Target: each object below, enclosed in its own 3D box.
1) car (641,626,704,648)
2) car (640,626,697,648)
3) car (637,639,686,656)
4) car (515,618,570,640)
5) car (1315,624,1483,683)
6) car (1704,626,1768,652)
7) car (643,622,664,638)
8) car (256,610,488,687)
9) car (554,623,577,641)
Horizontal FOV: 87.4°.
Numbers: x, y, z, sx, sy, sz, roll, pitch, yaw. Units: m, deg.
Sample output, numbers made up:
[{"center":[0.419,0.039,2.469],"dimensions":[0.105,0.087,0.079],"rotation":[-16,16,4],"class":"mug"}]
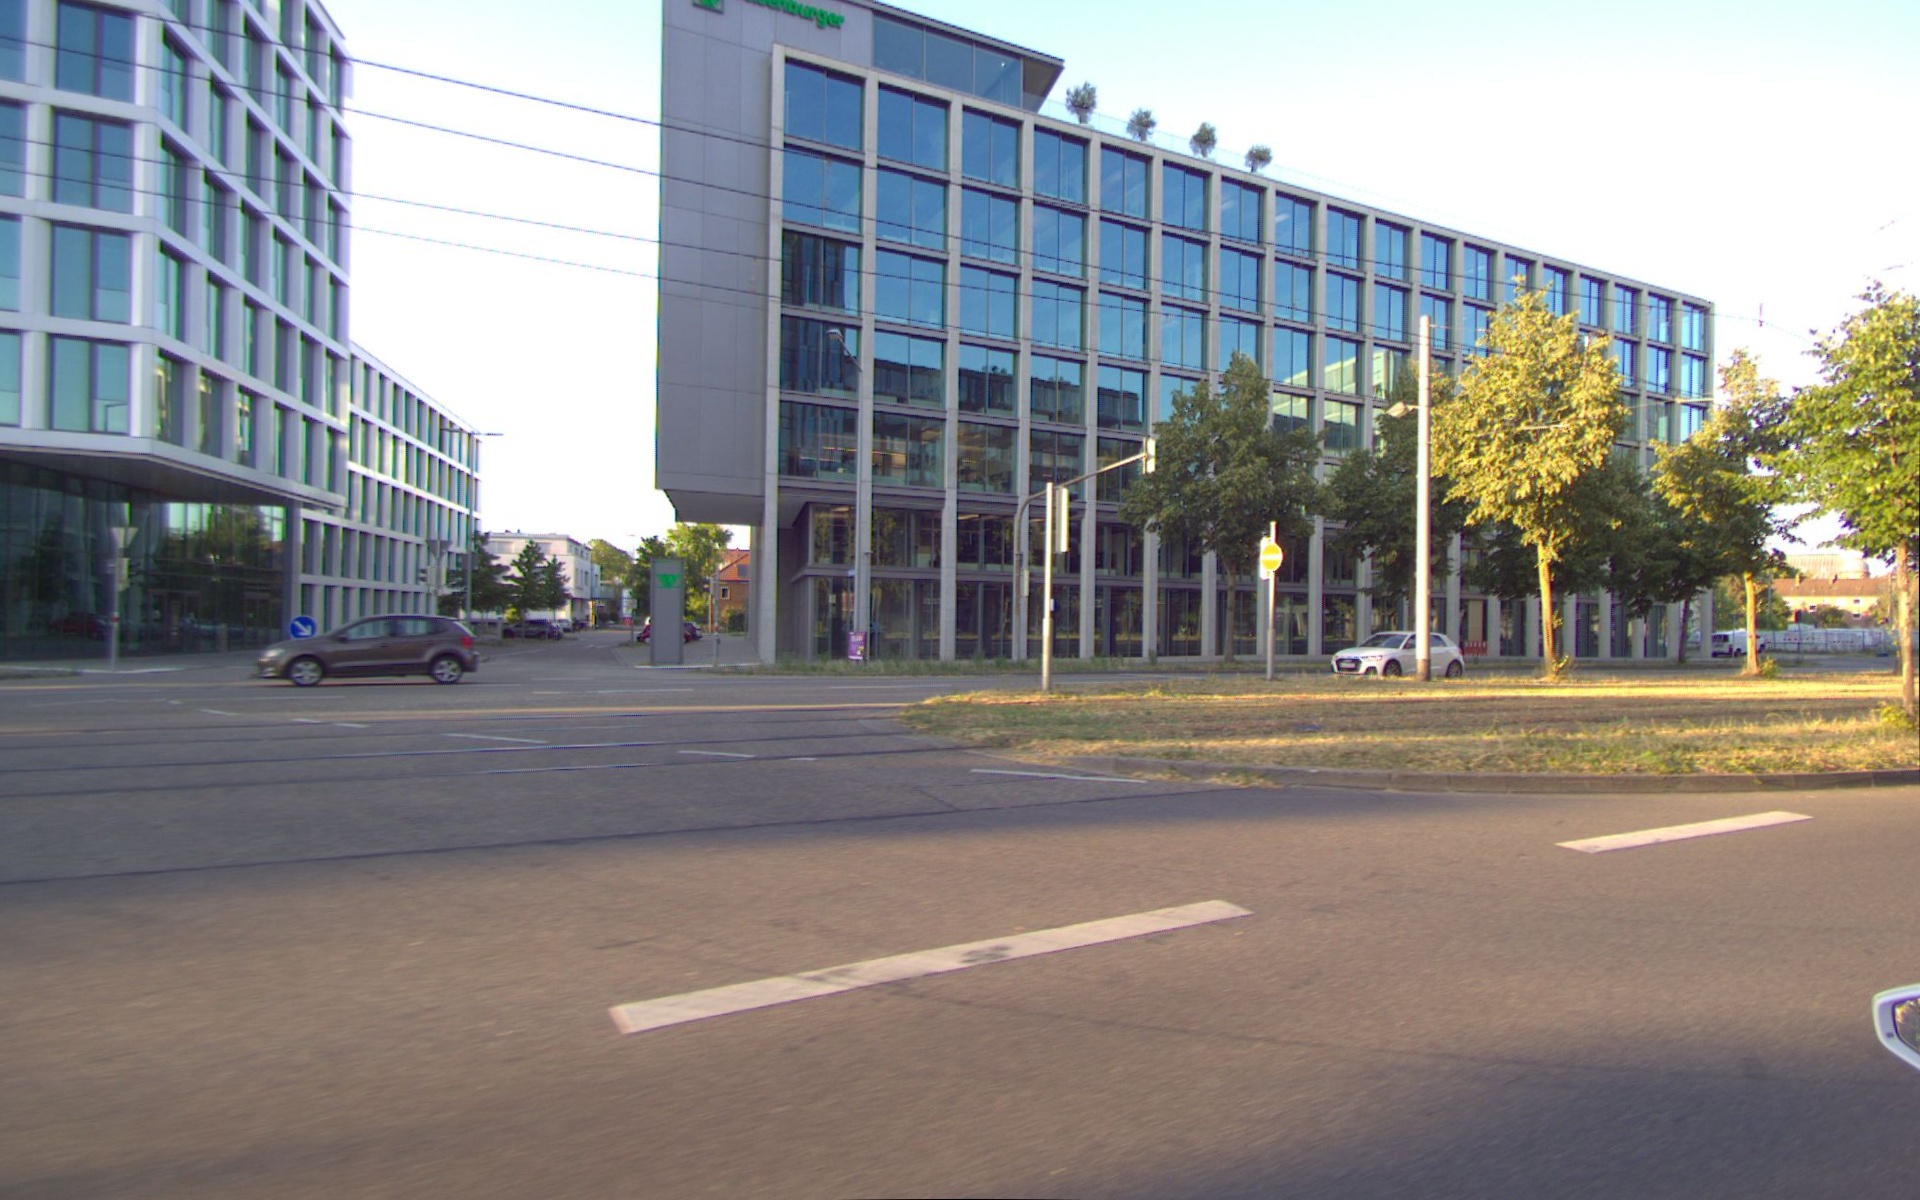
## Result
[{"center":[-21.356,2.721,74.658],"dimensions":[4.461,1.576,1.697],"rotation":[1,-1,-18],"class":"car"},{"center":[-21.070,2.674,72.744],"dimensions":[3.933,1.576,1.699],"rotation":[1,-1,-15],"class":"car"},{"center":[-23.527,3.738,79.263],"dimensions":[3.612,1.235,1.519],"rotation":[1,-1,-17],"class":"car"},{"center":[-33.237,2.331,79.990],"dimensions":[3.941,1.686,1.990],"rotation":[1,-1,-21],"class":"car"},{"center":[12.249,1.470,27.979],"dimensions":[4.573,1.505,1.895],"rotation":[2,-1,-28],"class":"car"},{"center":[63.163,3.196,81.751],"dimensions":[5.016,2.040,2.199],"rotation":[2,-2,-26],"class":"car"},{"center":[-35.589,3.481,116.793],"dimensions":[1.965,1.746,3.992],"rotation":[1,-1,-11],"class":"car"},{"center":[-12.021,0.964,20.719],"dimensions":[3.956,1.468,1.632],"rotation":[1,-1,-32],"class":"car"},{"center":[-42.009,3.360,107.065],"dimensions":[1.777,1.817,3.799],"rotation":[1,-1,-13],"class":"car"}]
